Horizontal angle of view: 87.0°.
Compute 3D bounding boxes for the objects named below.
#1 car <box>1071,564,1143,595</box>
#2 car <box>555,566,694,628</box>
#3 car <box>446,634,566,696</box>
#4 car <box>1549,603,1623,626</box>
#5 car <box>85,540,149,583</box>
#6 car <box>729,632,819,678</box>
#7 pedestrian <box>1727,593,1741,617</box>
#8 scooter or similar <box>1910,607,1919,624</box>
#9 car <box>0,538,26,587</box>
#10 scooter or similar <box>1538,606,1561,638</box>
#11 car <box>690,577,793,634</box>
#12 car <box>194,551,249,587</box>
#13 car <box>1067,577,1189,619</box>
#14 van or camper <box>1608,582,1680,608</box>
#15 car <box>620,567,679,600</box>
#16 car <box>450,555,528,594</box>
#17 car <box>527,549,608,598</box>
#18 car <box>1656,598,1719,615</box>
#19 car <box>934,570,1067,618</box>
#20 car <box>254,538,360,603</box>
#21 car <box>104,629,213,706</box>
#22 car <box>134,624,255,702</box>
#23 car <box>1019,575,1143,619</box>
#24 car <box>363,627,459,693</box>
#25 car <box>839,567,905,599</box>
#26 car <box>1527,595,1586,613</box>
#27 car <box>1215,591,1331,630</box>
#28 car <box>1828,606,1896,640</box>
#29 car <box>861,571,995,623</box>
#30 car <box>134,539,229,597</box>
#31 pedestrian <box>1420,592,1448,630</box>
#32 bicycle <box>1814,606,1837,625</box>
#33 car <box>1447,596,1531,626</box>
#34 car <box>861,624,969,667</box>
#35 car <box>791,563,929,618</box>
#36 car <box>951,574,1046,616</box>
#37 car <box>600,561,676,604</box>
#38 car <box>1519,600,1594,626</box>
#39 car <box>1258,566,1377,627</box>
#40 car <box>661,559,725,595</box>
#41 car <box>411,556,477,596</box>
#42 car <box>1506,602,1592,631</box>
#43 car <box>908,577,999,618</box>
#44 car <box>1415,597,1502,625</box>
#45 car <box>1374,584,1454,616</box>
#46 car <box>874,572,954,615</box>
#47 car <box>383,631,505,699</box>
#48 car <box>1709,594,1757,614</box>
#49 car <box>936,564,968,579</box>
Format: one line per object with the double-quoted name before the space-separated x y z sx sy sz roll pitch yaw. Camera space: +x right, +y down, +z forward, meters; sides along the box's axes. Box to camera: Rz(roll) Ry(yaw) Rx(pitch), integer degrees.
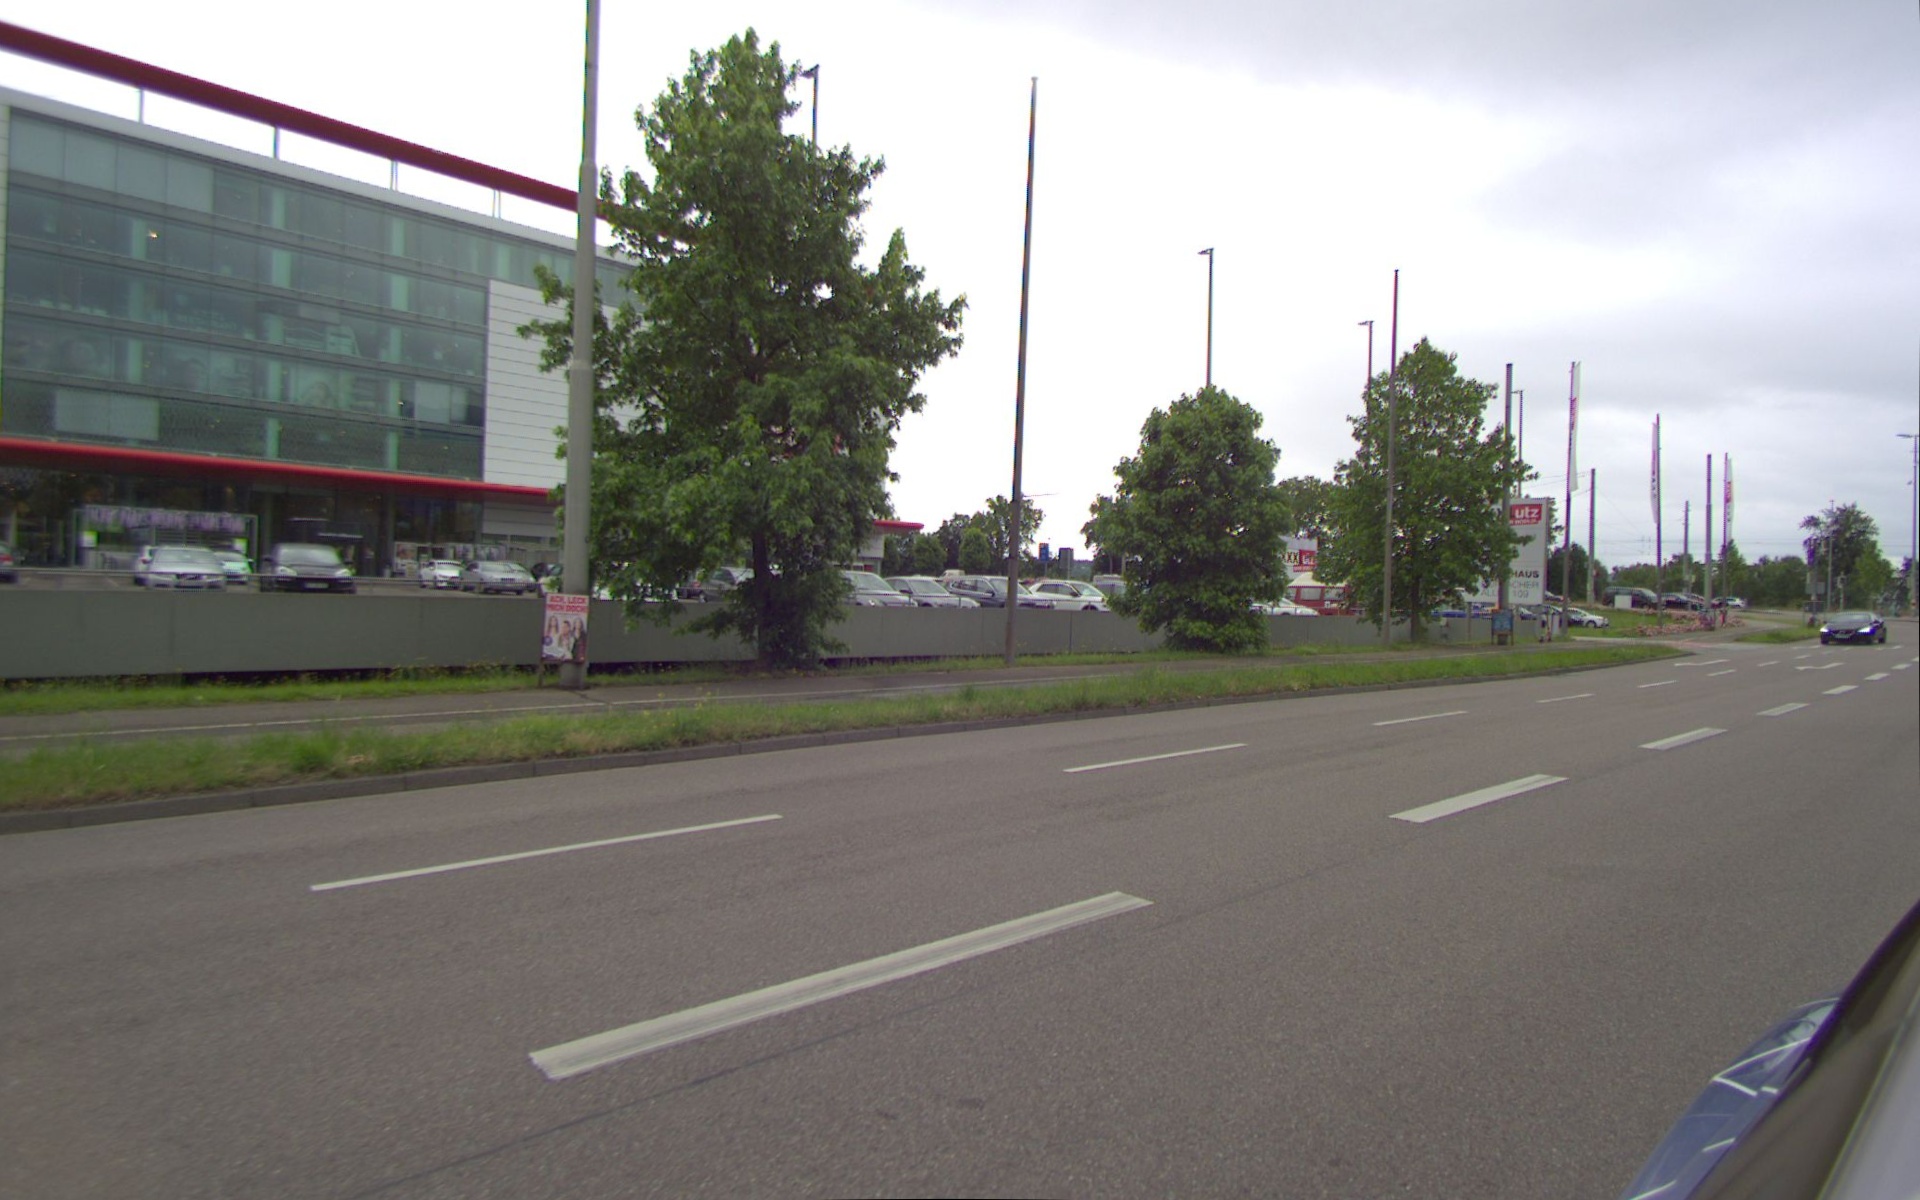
"car" 15.085 -2.094 104.045 6.916 3.028 2.729 1 -1 39
"car" -7.839 -0.078 23.528 3.513 1.324 1.580 1 -2 44
"car" -12.144 1.675 26.962 1.734 1.367 4.058 0 0 -43
"car" 44.362 1.019 71.780 1.843 1.464 4.111 3 -1 -43
"car" -30.808 -1.361 37.000 1.670 1.411 3.693 3 -1 -40
"car" -7.751 2.226 41.903 1.754 1.643 3.990 0 0 -44
"pedestrian" 54.425 0.366 71.139 0.711 1.617 0.775 0 2 33
"scooter or similar" 74.877 1.215 78.868 0.314 1.271 1.117 -1 2 -31
"car" -33.460 -1.335 34.487 3.801 1.600 1.781 2 -1 38
"scooter or similar" 22.170 0.823 38.064 1.227 1.206 0.370 1 0 -42
"car" -8.285 0.198 38.129 1.966 2.039 4.181 2 -1 -42
"car" -31.525 -1.291 43.163 1.671 1.394 3.602 3 -1 -39
"car" 5.971 -0.098 36.277 1.803 1.367 4.059 3 -1 -42
"van or camper" 59.596 -0.463 88.316 2.080 2.038 4.763 -1 3 -26
"car" -15.504 -0.807 50.462 1.707 1.607 3.578 0 0 -37
"car" -21.299 -1.116 45.658 1.835 1.606 4.288 3 -2 -44
"car" -14.896 -0.977 38.340 1.702 1.724 3.744 3 -1 -40
"car" 64.485 0.555 89.743 1.800 1.482 4.212 0 0 -29
"car" 1.221 -0.185 31.959 1.778 1.367 4.157 3 -1 -42
"car" -18.517 -0.811 28.601 1.964 1.612 4.377 3 -1 -39
"car" -17.532 1.395 22.101 1.732 1.367 4.062 0 0 -40
"car" -13.741 1.060 18.098 1.489 1.146 3.519 0 0 -41
"car" 4.112 -0.122 34.750 1.733 1.367 4.059 3 -1 -42
"car" -17.880 1.876 32.877 1.964 1.855 4.376 0 0 -39
"car" -5.336 -1.012 61.062 3.988 1.845 1.859 0 0 44
"car" 55.843 0.330 94.784 1.932 1.482 4.321 1 2 -36
"car" 13.340 0.427 43.284 1.925 1.480 4.383 3 -1 -40
"car" 40.810 1.001 45.764 4.272 1.408 1.995 0 1 -44
"car" -1.006 -0.094 30.146 1.733 1.417 4.059 3 -1 -42
"car" -23.208 -0.922 30.115 1.815 1.538 4.234 3 -1 -43
"pedestrian" 22.260 0.510 47.519 0.870 1.742 0.940 3 -2 -43
"bicycle" 50.581 0.879 59.165 1.660 1.062 0.665 -1 1 -36
"car" 31.244 0.627 59.836 1.782 1.664 3.998 0 1 -37
"car" -1.678 1.600 36.533 1.733 1.367 4.060 0 0 -41
"car" -2.855 -0.263 28.240 1.733 1.367 4.059 3 -1 -42
"car" 1.676 -0.230 45.528 1.854 1.766 4.322 3 -1 -39
"car" -12.704 -0.667 39.830 1.583 1.545 3.570 3 -1 -40
"car" 40.167 0.883 68.192 1.741 1.603 4.094 2 -1 -45
"car" 16.554 -0.156 47.039 2.131 2.612 4.732 3 -1 -40
"car" -13.805 -1.156 52.201 1.860 1.772 3.998 0 0 -37
"car" -25.357 -1.170 49.662 1.784 1.804 3.986 3 -2 -44
"car" 36.713 1.014 63.150 4.512 1.603 1.748 1 2 35
"car" -0.331 -0.108 44.126 1.800 1.685 4.182 1 0 -39
"car" 27.738 0.570 56.412 1.783 1.473 3.994 0 1 -40
"car" 33.809 -0.030 75.440 2.083 2.192 5.051 0 1 -37
"car" -2.325 -0.344 50.059 1.942 2.039 3.995 0 0 -40
"car" -10.620 1.272 20.728 1.429 1.146 3.519 0 0 -41
"car" 83.276 0.418 109.114 3.971 2.039 1.925 0 0 34
"car" -1.608 -5.519 192.855 5.879 2.659 2.623 2 -1 43
